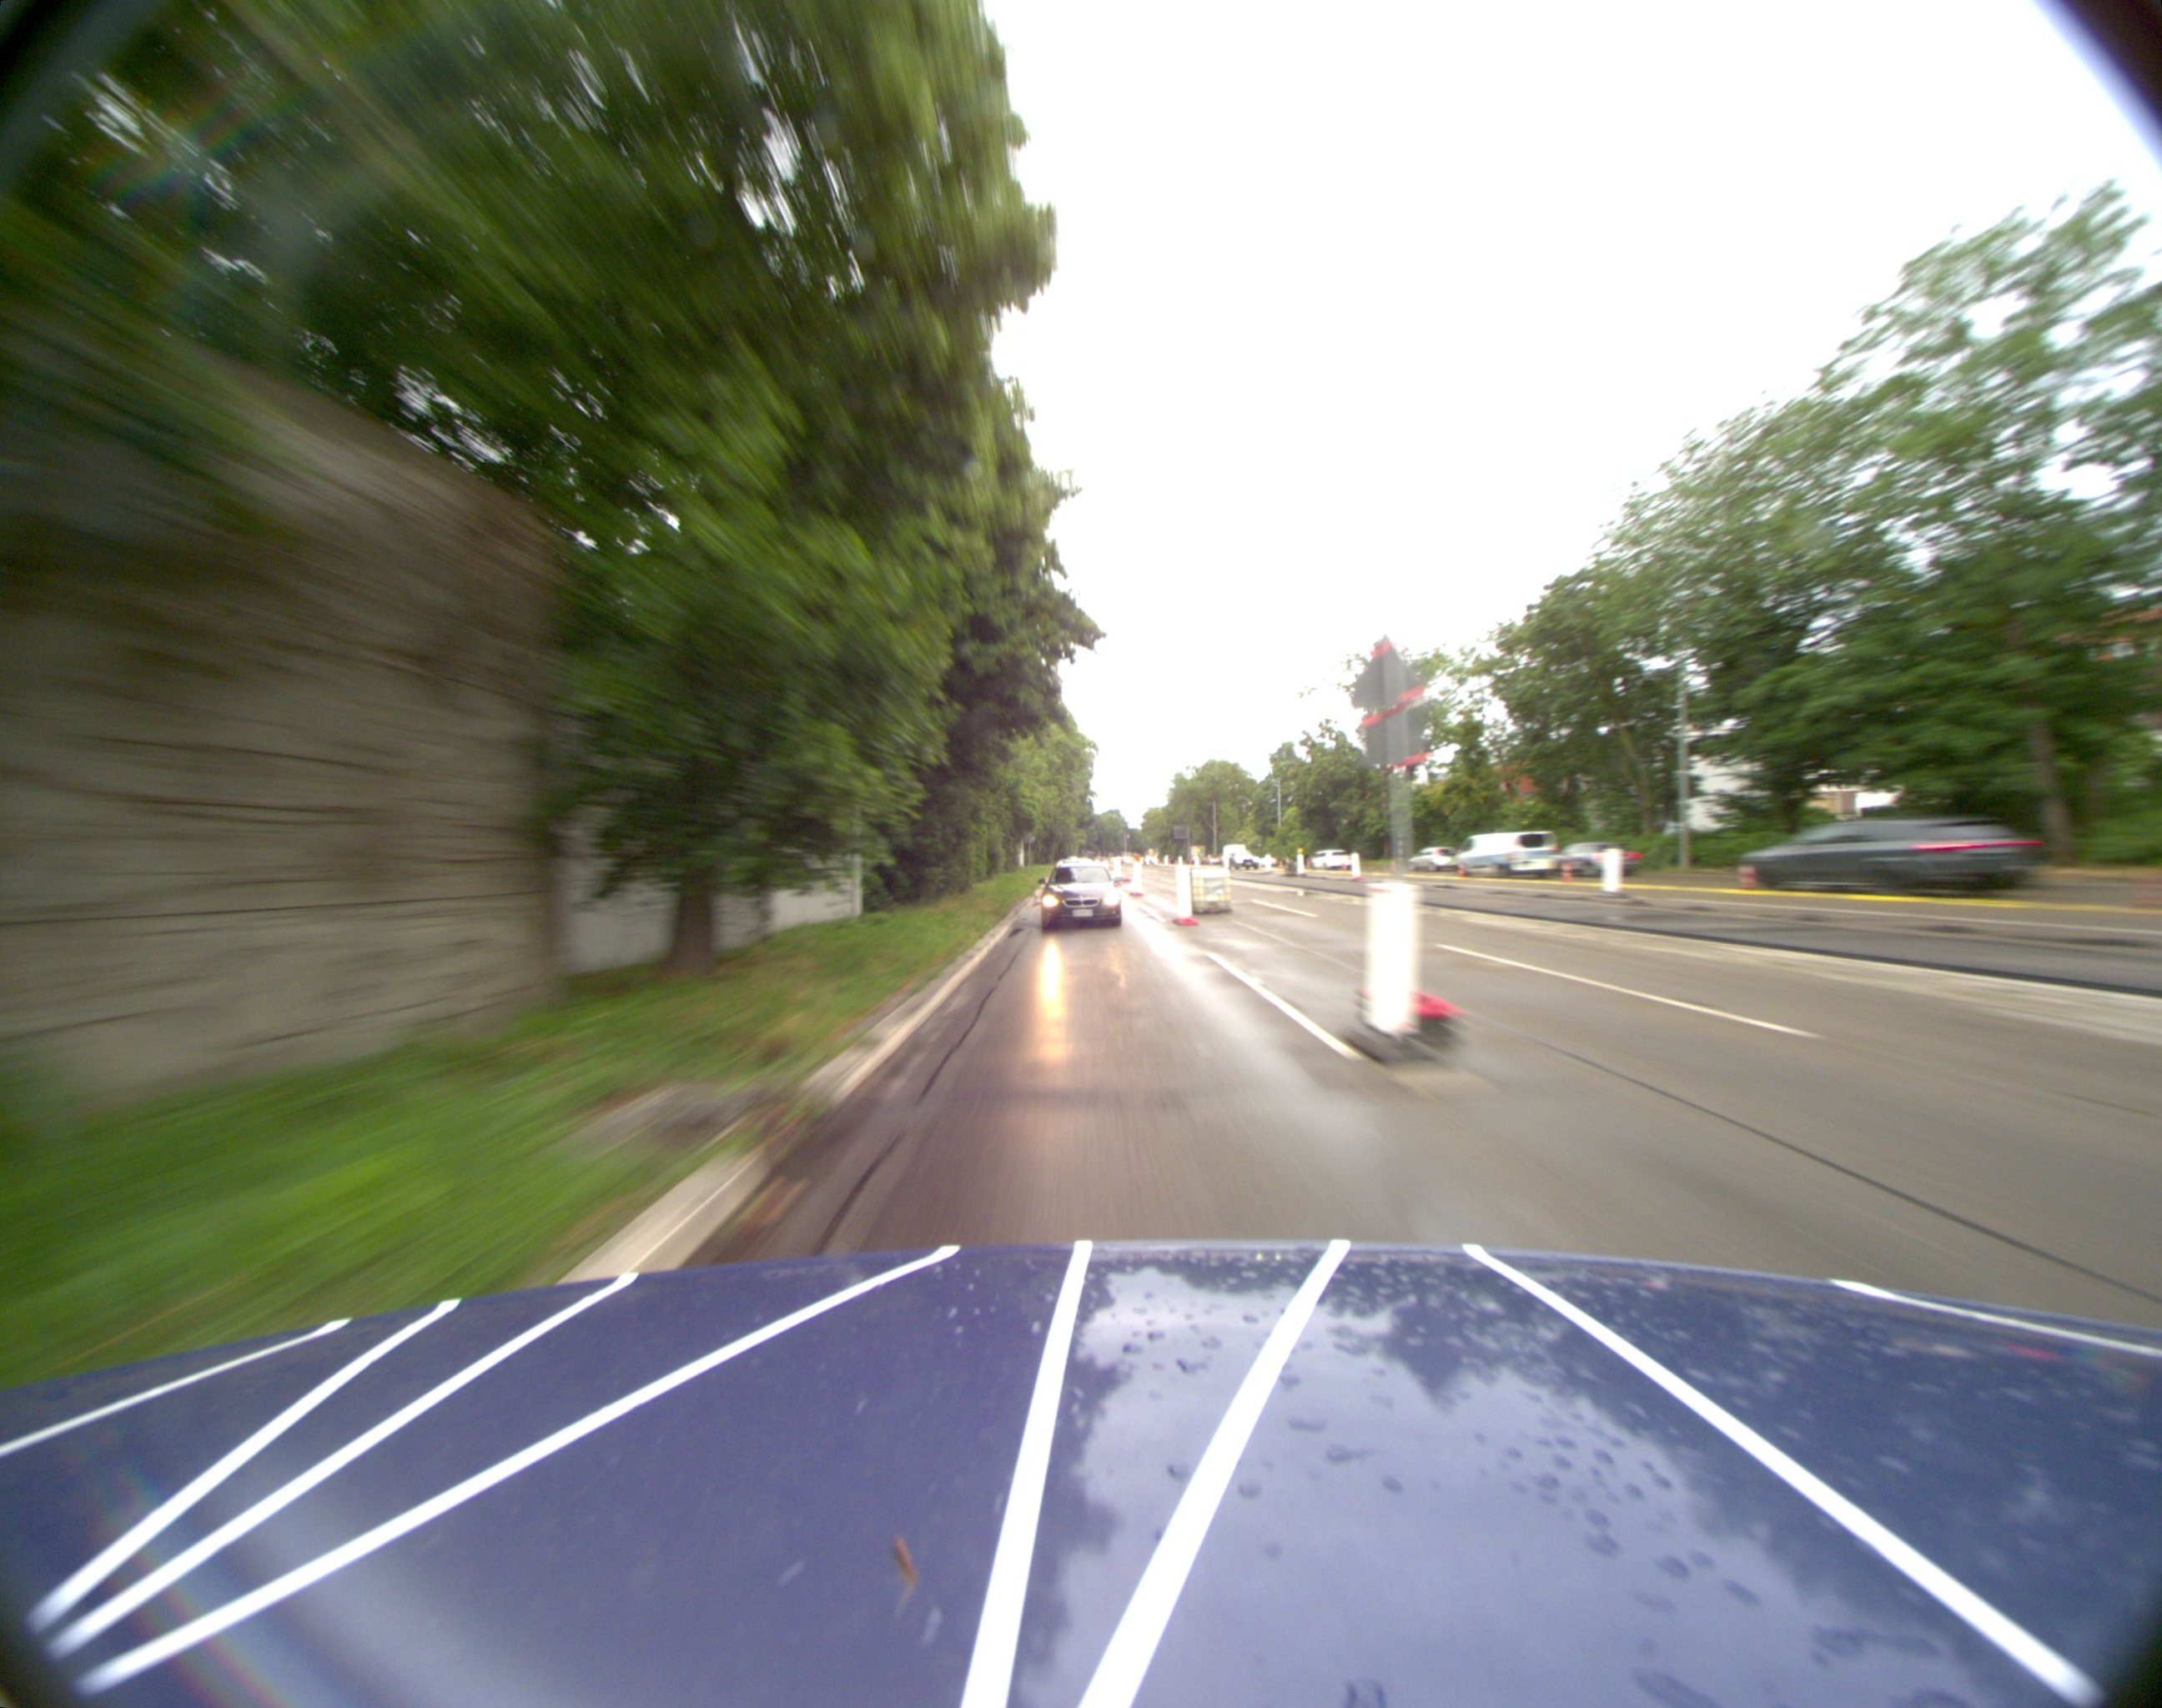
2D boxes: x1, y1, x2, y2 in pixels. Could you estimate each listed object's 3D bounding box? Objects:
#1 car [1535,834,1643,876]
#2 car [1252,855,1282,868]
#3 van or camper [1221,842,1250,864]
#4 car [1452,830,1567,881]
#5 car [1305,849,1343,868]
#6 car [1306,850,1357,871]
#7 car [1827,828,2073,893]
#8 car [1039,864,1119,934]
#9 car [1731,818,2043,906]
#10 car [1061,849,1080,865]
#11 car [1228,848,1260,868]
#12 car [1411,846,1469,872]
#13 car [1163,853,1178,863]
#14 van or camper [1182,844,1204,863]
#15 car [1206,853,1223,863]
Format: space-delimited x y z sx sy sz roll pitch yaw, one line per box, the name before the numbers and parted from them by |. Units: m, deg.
car | 21.382 0.025 32.195 1.832 1.612 3.999 -3 1 -1
car | 19.991 0.794 81.758 1.694 1.176 3.997 -3 0 -8
van or camper | 19.798 -0.137 97.783 1.999 2.540 7.729 -3 0 0
car | 18.367 0.072 32.890 1.999 1.960 4.902 -2 0 -2
car | 20.665 0.370 64.748 1.733 1.467 4.486 -1 0 -1
car | 18.022 0.443 54.875 1.999 1.407 4.391 -1 1 -3
car | 21.670 0.146 19.225 1.649 1.412 4.000 -2 0 1
car | -0.087 0.973 18.110 1.658 1.409 4.128 -1 0 -1
car | 18.522 0.159 17.942 2.026 1.715 5.012 -3 0 0
car | -1.191 0.354 87.183 1.998 1.707 4.000 -1 1 1
car | 14.456 0.357 67.644 1.998 1.619 4.812 -2 0 2
car | 21.182 0.273 44.938 1.683 1.392 3.639 -2 0 1
car | 16.586 0.725 141.175 1.999 1.684 4.806 -3 0 -1
van or camper | 18.894 -0.102 128.073 2.303 3.044 7.451 -2 0 -1
car | 19.229 0.600 109.528 1.720 1.357 4.081 -1 0 -1
